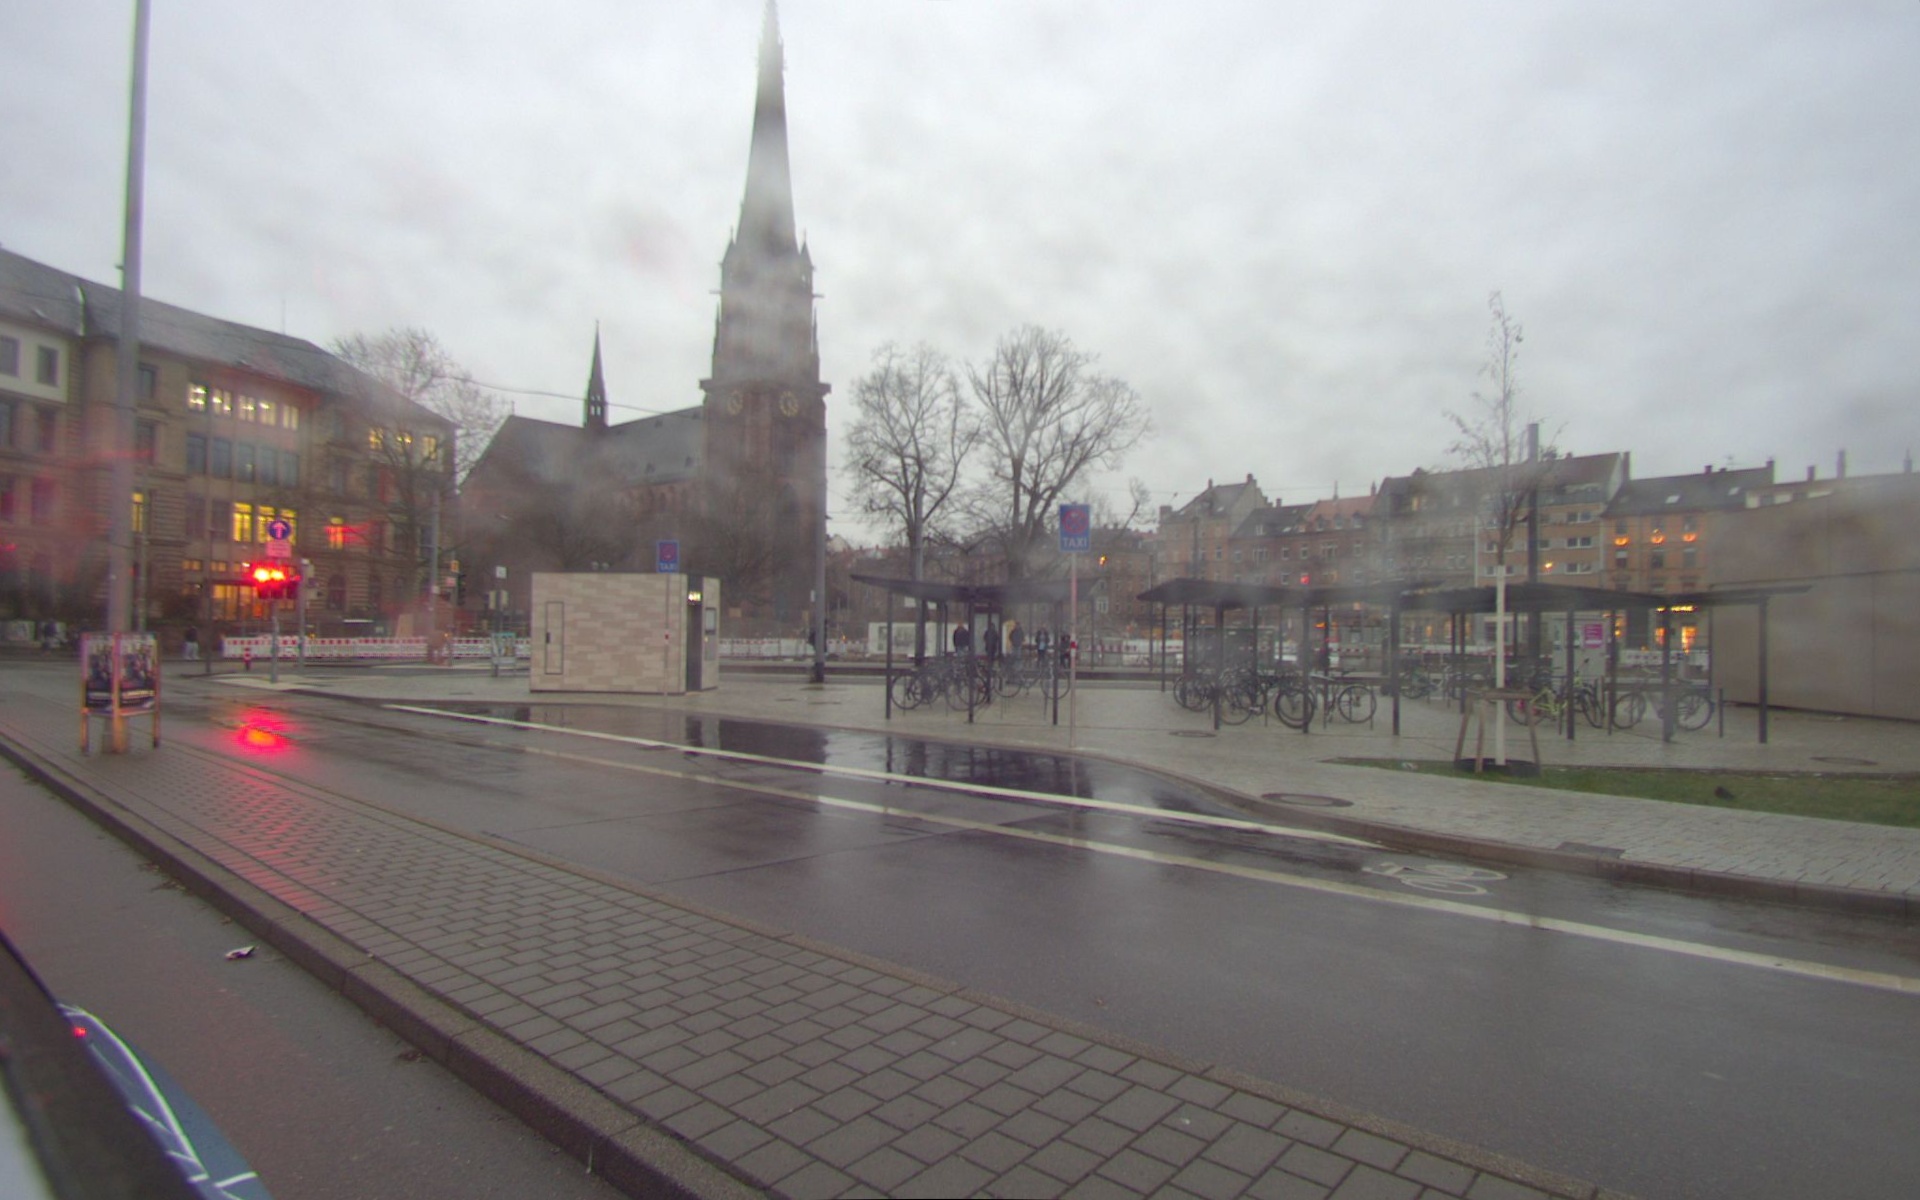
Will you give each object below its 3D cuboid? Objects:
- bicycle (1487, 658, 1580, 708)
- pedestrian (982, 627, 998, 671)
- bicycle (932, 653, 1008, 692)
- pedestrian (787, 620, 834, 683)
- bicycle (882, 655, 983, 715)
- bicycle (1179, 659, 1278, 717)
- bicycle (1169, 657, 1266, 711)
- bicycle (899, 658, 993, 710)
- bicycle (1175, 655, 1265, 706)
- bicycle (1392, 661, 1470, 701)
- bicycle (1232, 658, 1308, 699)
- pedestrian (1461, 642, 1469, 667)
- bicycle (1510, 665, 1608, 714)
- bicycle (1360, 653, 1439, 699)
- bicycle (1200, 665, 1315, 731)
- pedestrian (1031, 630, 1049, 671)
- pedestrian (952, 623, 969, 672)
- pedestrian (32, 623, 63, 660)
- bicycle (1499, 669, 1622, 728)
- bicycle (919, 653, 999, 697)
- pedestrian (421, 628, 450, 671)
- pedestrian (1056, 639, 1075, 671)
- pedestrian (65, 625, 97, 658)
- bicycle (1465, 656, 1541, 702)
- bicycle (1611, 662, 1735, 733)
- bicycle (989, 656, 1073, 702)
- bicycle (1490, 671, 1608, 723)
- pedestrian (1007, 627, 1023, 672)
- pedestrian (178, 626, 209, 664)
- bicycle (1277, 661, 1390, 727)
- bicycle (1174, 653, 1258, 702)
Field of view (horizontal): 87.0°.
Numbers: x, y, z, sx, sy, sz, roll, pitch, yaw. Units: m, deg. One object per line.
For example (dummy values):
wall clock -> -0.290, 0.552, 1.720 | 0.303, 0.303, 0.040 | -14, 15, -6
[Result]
bicycle -> 13.254, 1.911, 23.415 | 1.810, 1.081, 0.474 | 1, -1, 8
pedestrian -> 1.149, 1.861, 38.649 | 0.556, 1.664, 0.540 | -1, 0, -1
bicycle -> 0.267, 1.869, 26.096 | 1.905, 0.917, 0.473 | 1, -1, 11
pedestrian -> -4.316, 1.491, 29.240 | 1.056, 1.778, 1.008 | 0, -3, 10
bicycle -> -0.537, 1.655, 19.865 | 1.905, 1.078, 0.473 | 1, -1, 11
bicycle -> 5.433, 1.776, 20.545 | 1.905, 1.078, 0.473 | 1, -1, 11
bicycle -> 5.432, 1.775, 21.399 | 1.899, 1.078, 0.474 | 1, -1, 2
bicycle -> -0.286, 1.735, 21.102 | 1.905, 0.993, 0.473 | 1, -1, 11
bicycle -> 5.850, 1.810, 22.847 | 1.905, 1.078, 0.473 | 1, -1, 11
bicycle -> 11.622, 1.994, 24.989 | 1.672, 0.898, 0.474 | 1, -1, 5
bicycle -> 7.663, 1.944, 25.068 | 1.729, 0.946, 0.474 | 1, -1, 7
pedestrian -> 42.642, 4.597, 85.498 | 0.436, 2.029, 0.414 | 3, -4, -41
bicycle -> 12.901, 1.922, 21.828 | 1.751, 0.963, 0.473 | 1, -1, 11
bicycle -> 11.185, 1.927, 25.800 | 1.780, 1.116, 0.473 | 1, -1, 11
bicycle -> 5.257, 1.722, 17.954 | 1.905, 1.078, 0.473 | 1, -1, 11
pedestrian -> 3.035, 1.912, 38.330 | 0.580, 1.513, 0.675 | -1, 0, -1
pedestrian -> 0.005, 1.803, 38.576 | 0.619, 1.808, 0.672 | -1, 0, -1
pedestrian -> -46.036, 2.098, 51.072 | 0.885, 1.830, 0.674 | 1, -2, -1
bicycle -> 11.127, 1.816, 18.782 | 1.905, 0.983, 0.473 | 1, -1, 11
bicycle -> -0.014, 1.830, 24.867 | 1.905, 0.993, 0.473 | 1, -1, 11
pedestrian -> -21.326, 1.989, 41.154 | 0.760, 1.673, 1.211 | -1, 0, -14
pedestrian -> 3.981, 2.074, 38.322 | 0.610, 1.165, 0.806 | -1, 0, -1
pedestrian -> -46.830, 2.194, 53.939 | 0.917, 1.737, 0.826 | 0, -3, 7
bicycle -> 13.234, 1.919, 24.662 | 1.551, 1.044, 0.521 | 1, -1, 1
bicycle -> 12.690, 1.727, 18.044 | 1.731, 1.165, 0.617 | 1, -1, 1
bicycle -> 1.640, 1.823, 23.421 | 1.905, 0.993, 0.473 | 1, -1, 11
bicycle -> 11.368, 1.864, 19.569 | 1.905, 0.898, 0.473 | 1, -1, 11
pedestrian -> 2.069, 1.857, 38.111 | 0.543, 1.648, 0.571 | -1, 0, -1
pedestrian -> -38.651, 2.263, 51.036 | 0.960, 1.915, 0.674 | 1, -2, -1
bicycle -> 6.946, 1.737, 18.864 | 1.905, 1.129, 0.473 | 1, -1, 11
bicycle -> 6.065, 1.831, 24.038 | 1.905, 1.078, 0.473 | 1, -1, 11
